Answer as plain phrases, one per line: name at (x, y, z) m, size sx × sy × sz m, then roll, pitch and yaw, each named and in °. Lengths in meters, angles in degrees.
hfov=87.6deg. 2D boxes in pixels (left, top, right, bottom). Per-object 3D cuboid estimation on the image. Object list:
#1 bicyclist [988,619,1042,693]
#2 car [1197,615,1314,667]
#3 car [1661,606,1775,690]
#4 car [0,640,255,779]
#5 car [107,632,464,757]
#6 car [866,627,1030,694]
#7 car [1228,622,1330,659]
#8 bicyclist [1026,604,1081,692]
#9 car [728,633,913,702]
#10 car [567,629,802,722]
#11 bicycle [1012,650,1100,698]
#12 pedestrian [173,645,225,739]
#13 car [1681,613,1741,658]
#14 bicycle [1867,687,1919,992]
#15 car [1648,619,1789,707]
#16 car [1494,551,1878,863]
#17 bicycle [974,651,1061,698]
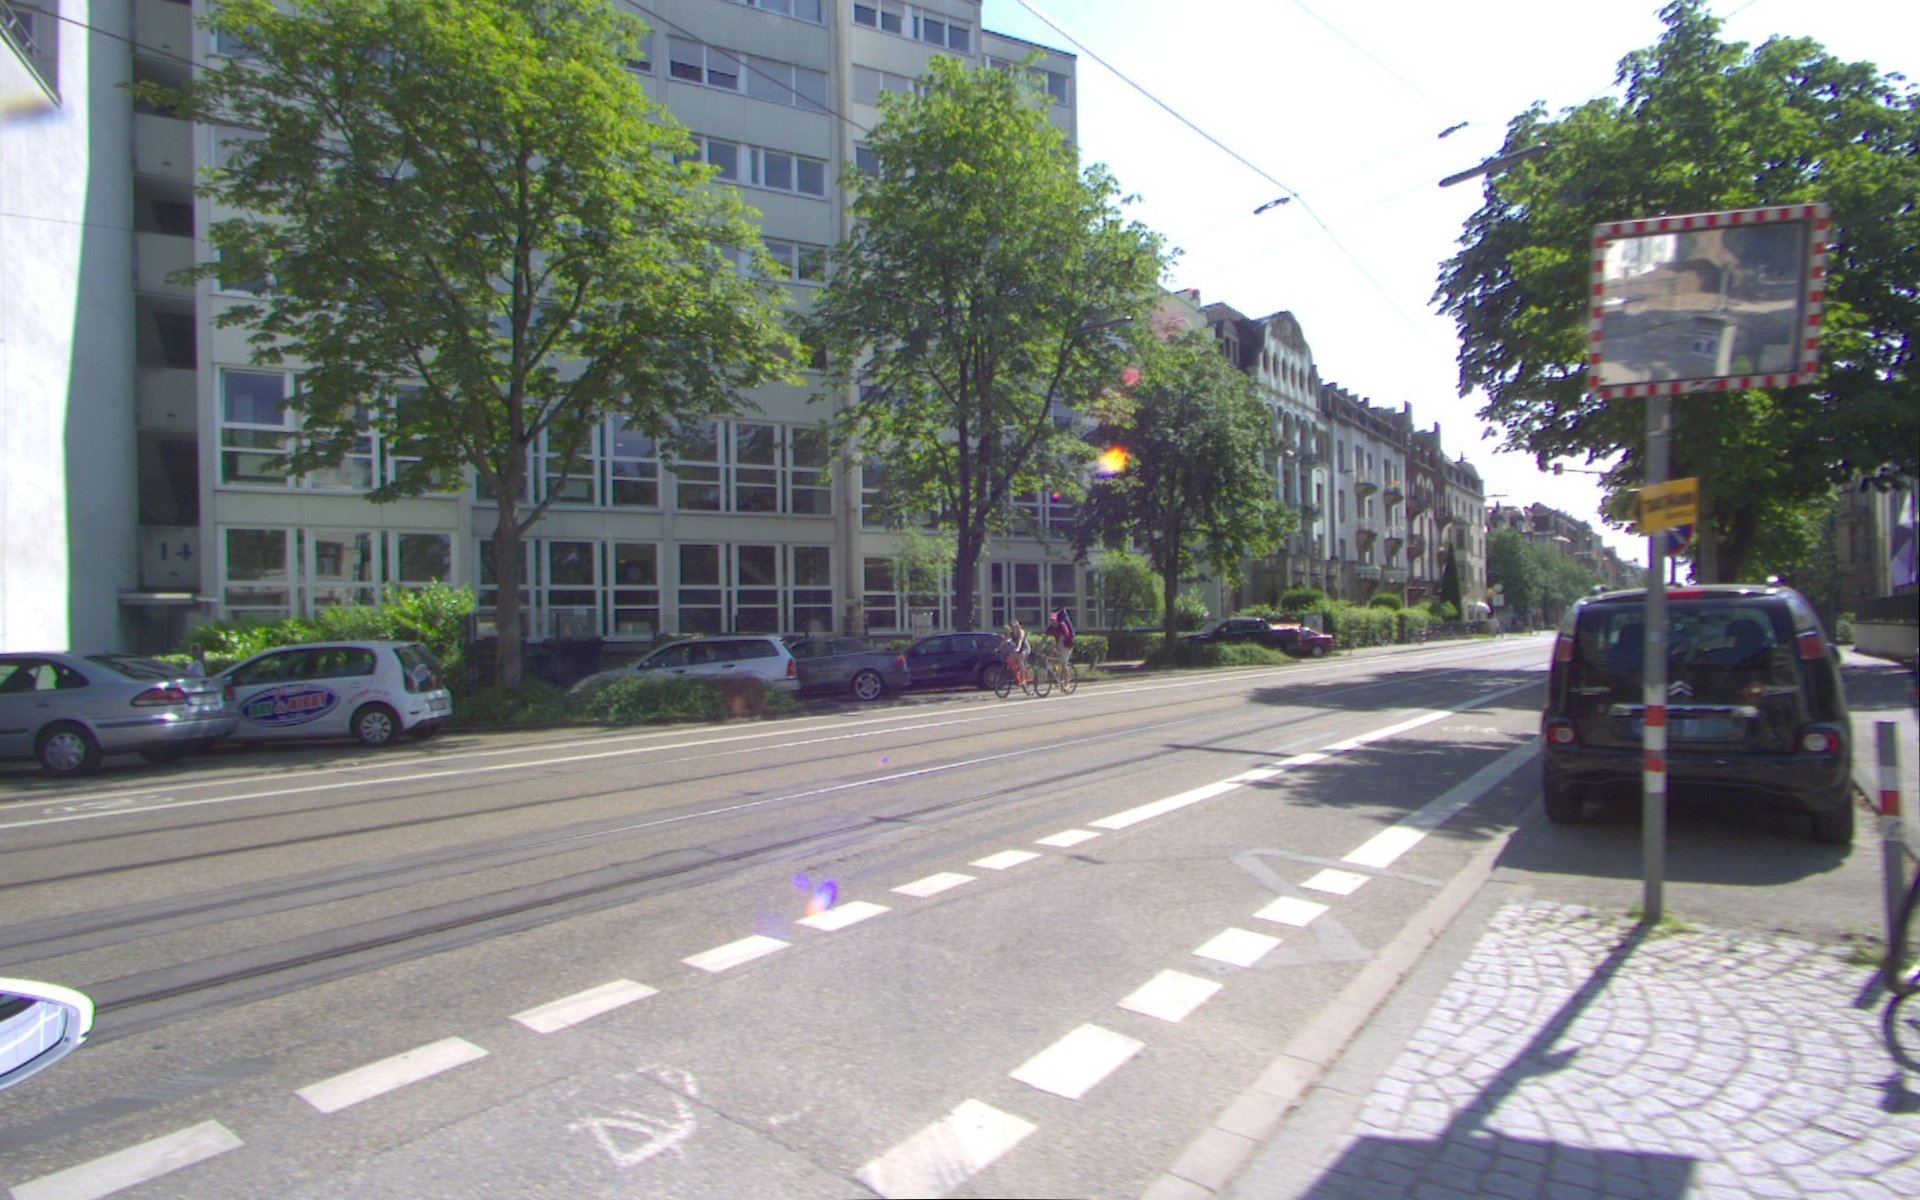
bicyclist at (1.195, 1.212, 21.775) m, size 0.795 × 1.562 × 0.857 m, roll -3°, pitch -2°, yaw 41°
car at (11.561, 1.602, 39.259) m, size 3.927 × 1.883 × 1.998 m, roll -1°, pitch -2°, yaw -15°
car at (16.871, 1.051, 22.382) m, size 1.833 × 1.701 × 3.974 m, roll -3°, pitch -3°, yaw 36°
car at (-10.923, 1.267, 11.884) m, size 3.869 × 1.505 × 1.613 m, roll -1°, pitch -2°, yaw -6°
car at (-9.418, 1.284, 14.259) m, size 3.869 × 1.505 × 1.613 m, roll -2°, pitch -2°, yaw -7°
car at (-0.336, 1.476, 24.680) m, size 3.870 × 1.505 × 1.559 m, roll -1°, pitch -2°, yaw -8°
car at (14.478, 1.839, 45.571) m, size 3.924 × 1.527 × 2.000 m, roll -1°, pitch -2°, yaw -8°
bicyclist at (1.996, 1.012, 21.382) m, size 0.795 × 1.824 × 0.857 m, roll -3°, pitch -2°, yaw 41°
car at (-3.045, 1.455, 22.073) m, size 3.870 × 1.374 × 1.559 m, roll -1°, pitch -2°, yaw -8°
car at (-5.272, 1.424, 19.605) m, size 4.263 × 1.624 × 1.558 m, roll -1°, pitch -1°, yaw -11°
bicycle at (2.080, 1.558, 21.417) m, size 0.672 × 0.928 × 2.302 m, roll -3°, pitch -3°, yaw 40°
pedestrian at (-12.377, 1.475, 16.290) m, size 0.420 × 1.479 × 0.616 m, roll -2°, pitch -2°, yaw 44°
car at (30.499, 1.439, 40.722) m, size 1.833 × 1.701 × 3.974 m, roll -3°, pitch -3°, yaw 36°
bicycle at (4.091, 0.827, 3.364) m, size 1.486 × 1.054 × 0.363 m, roll -2°, pitch -1°, yaw 20°
car at (13.799, 1.096, 18.329) m, size 1.833 × 1.429 × 3.974 m, roll -3°, pitch -3°, yaw 36°
car at (5.533, 0.658, 7.624) m, size 1.835 × 1.705 × 3.971 m, roll -3°, pitch -3°, yaw 39°
bicycle at (1.293, 1.611, 22.014) m, size 0.672 × 0.928 × 2.302 m, roll -3°, pitch -3°, yaw 40°
